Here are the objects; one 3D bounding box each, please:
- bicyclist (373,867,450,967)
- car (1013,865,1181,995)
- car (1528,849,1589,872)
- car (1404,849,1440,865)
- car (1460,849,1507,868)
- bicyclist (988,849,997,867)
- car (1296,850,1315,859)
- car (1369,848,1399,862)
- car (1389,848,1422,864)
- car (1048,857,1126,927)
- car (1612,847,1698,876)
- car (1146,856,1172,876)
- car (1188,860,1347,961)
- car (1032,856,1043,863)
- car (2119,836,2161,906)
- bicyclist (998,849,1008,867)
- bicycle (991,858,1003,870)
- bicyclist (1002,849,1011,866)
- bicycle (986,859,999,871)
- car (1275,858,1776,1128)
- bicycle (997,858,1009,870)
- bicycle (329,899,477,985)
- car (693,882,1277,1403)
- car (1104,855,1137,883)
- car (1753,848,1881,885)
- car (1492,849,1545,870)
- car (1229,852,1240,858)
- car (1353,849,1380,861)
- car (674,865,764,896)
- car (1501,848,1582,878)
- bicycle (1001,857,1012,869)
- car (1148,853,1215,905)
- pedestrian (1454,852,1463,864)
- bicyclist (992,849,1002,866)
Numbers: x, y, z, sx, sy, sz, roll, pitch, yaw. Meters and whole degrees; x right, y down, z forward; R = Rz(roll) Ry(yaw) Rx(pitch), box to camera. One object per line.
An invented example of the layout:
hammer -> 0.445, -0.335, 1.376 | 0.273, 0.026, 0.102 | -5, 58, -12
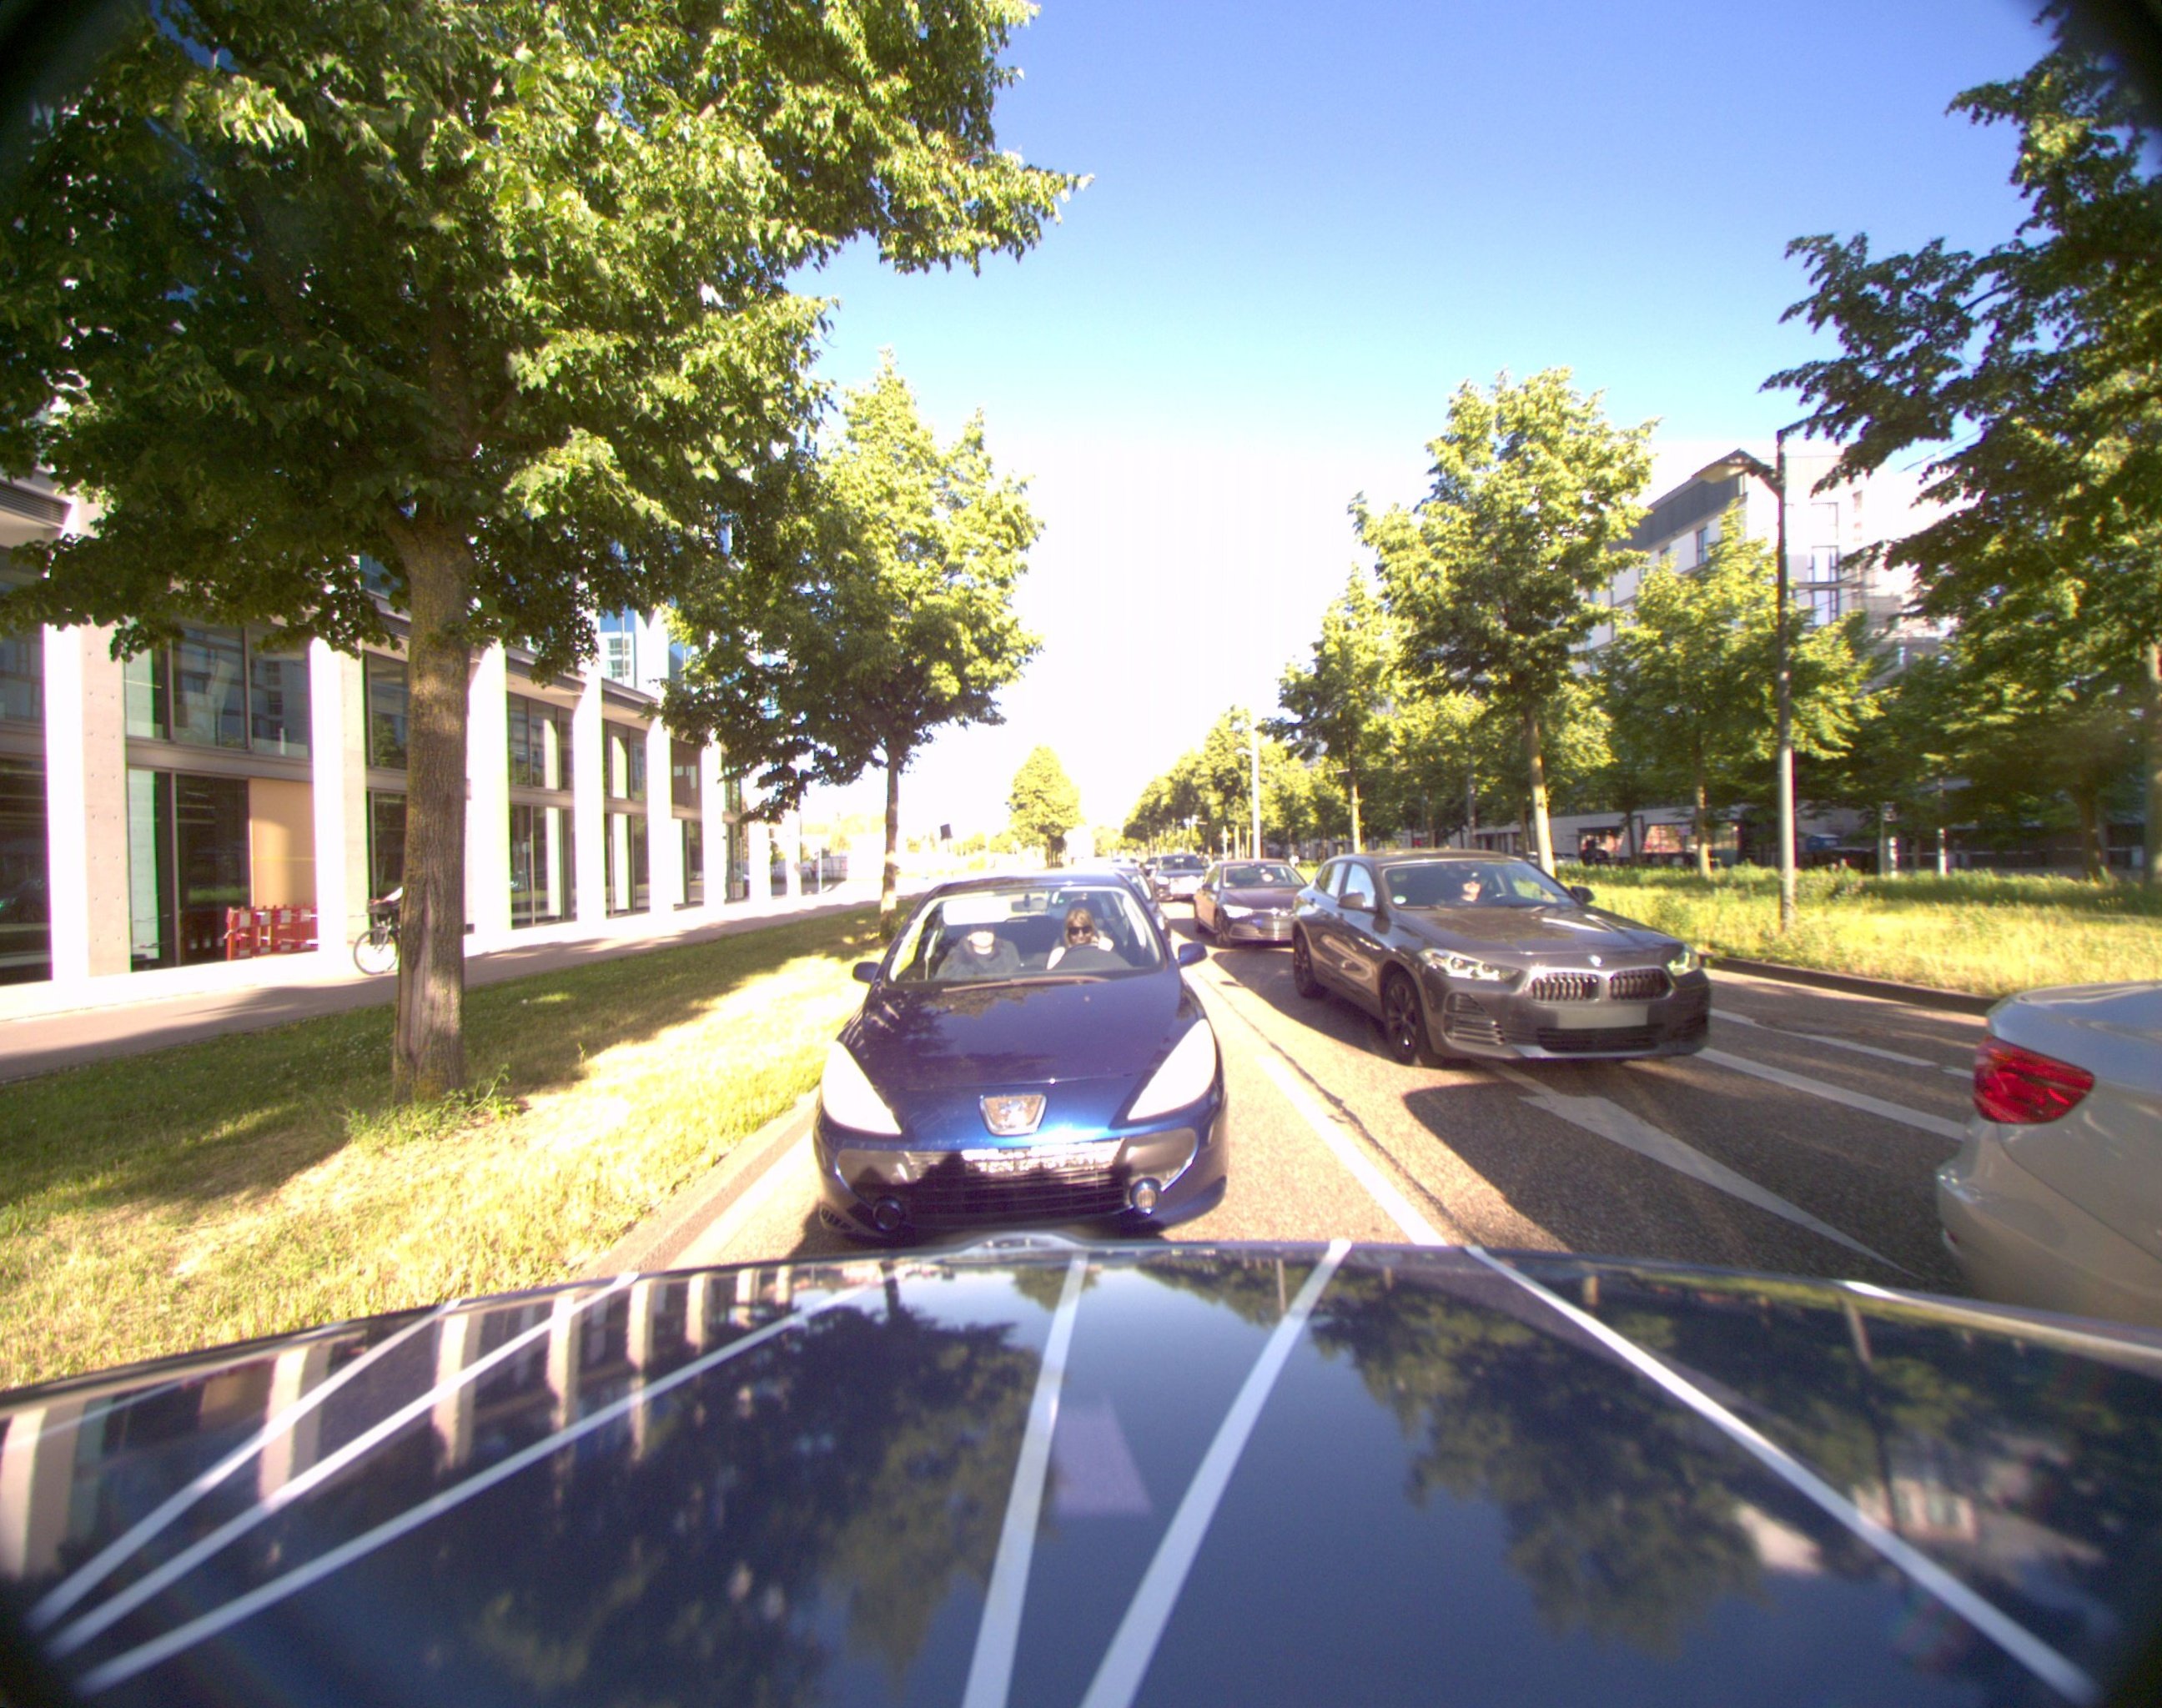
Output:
bicyclist -> -10.608, 0.973, 12.056 | 0.591, 1.530, 0.699 | 1, 0, 1
car -> 0.224, 0.954, 11.477 | 1.998, 1.437, 4.622 | -1, 0, 1
car -> 34.911, 0.481, 55.718 | 1.884, 1.588, 4.184 | -1, 0, 1
car -> 35.041, 0.273, 78.212 | 1.884, 1.588, 4.184 | -1, 0, 1
car -> 35.164, 0.369, 66.530 | 1.884, 1.588, 4.184 | -1, 0, 1
bicyclist -> -10.241, 0.510, 88.042 | 0.931, 2.045, 1.121 | -1, 1, 1
car -> 36.625, 0.020, 124.170 | 1.998, 1.387, 4.000 | -1, 0, 1
car -> 35.442, 0.149, 89.042 | 1.884, 1.588, 4.184 | -1, 0, 1
car -> 35.454, 0.204, 83.120 | 1.884, 1.588, 4.184 | -1, 0, 1
car -> 0.169, 0.856, 19.127 | 1.724, 1.516, 4.000 | -1, 0, 1
car -> 33.907, 0.402, 45.035 | 1.951, 1.588, 4.184 | -1, 0, 1
car -> 6.432, 0.978, 63.207 | 1.878, 1.561, 4.344 | -1, 0, 2
car -> 3.080, 0.866, 13.494 | 1.878, 1.415, 4.344 | -1, 0, 2
car -> -10.103, 1.181, 176.465 | 1.998, 1.556, 4.835 | -1, 0, 1
car -> 23.343, 0.335, 14.102 | 1.804, 1.439, 4.567 | -1, 0, -3
bicyclist -> -9.073, 0.434, 88.243 | 0.931, 2.045, 1.121 | -1, 1, 1
bicycle -> -10.174, 1.200, 92.329 | 0.931, 1.355, 4.000 | -1, 0, 1
bicyclist -> -9.023, 0.394, 92.404 | 0.931, 2.045, 1.121 | -1, 1, 1
bicycle -> -10.233, 1.242, 87.942 | 0.931, 1.355, 4.000 | -1, 0, 1
car -> 3.075, 0.814, 6.374 | 1.861, 1.482, 4.000 | -1, 0, 0
bicycle -> -9.054, 1.165, 88.250 | 0.931, 1.355, 4.000 | -1, 0, 1
bicycle -> -10.616, 1.342, 12.001 | 0.591, 1.149, 1.928 | 1, 0, 1
car -> -0.282, 1.020, 4.694 | 1.846, 1.473, 4.481 | -2, 0, 1
car -> 2.406, 0.864, 46.607 | 1.878, 1.561, 4.344 | -1, 0, 2
car -> 34.092, 0.544, 35.369 | 1.951, 1.588, 4.184 | -1, 0, 1
car -> 35.197, 0.414, 61.248 | 1.884, 1.588, 4.184 | -1, 0, 1
car -> 36.137, 0.183, 179.248 | 1.998, 1.387, 4.001 | -1, 0, 4
car -> 35.355, 0.098, 94.173 | 1.998, 1.387, 4.001 | -1, 0, 4
car -> -20.035, 1.432, 42.173 | 3.996, 1.569, 2.000 | -1, 0, 3
car -> 26.003, 0.465, 43.134 | 1.803, 1.474, 4.568 | -5, 0, 1
bicycle -> -9.023, 1.126, 92.405 | 0.931, 1.355, 4.000 | -1, 0, 1
car -> 3.398, 0.792, 26.333 | 1.878, 1.577, 4.344 | -1, 0, 2
pedestrian -> 42.625, 0.415, 85.813 | 0.604, 1.331, 0.660 | -1, 1, 1
bicyclist -> -10.172, 0.469, 92.146 | 0.931, 2.045, 1.121 | -1, 1, 1
